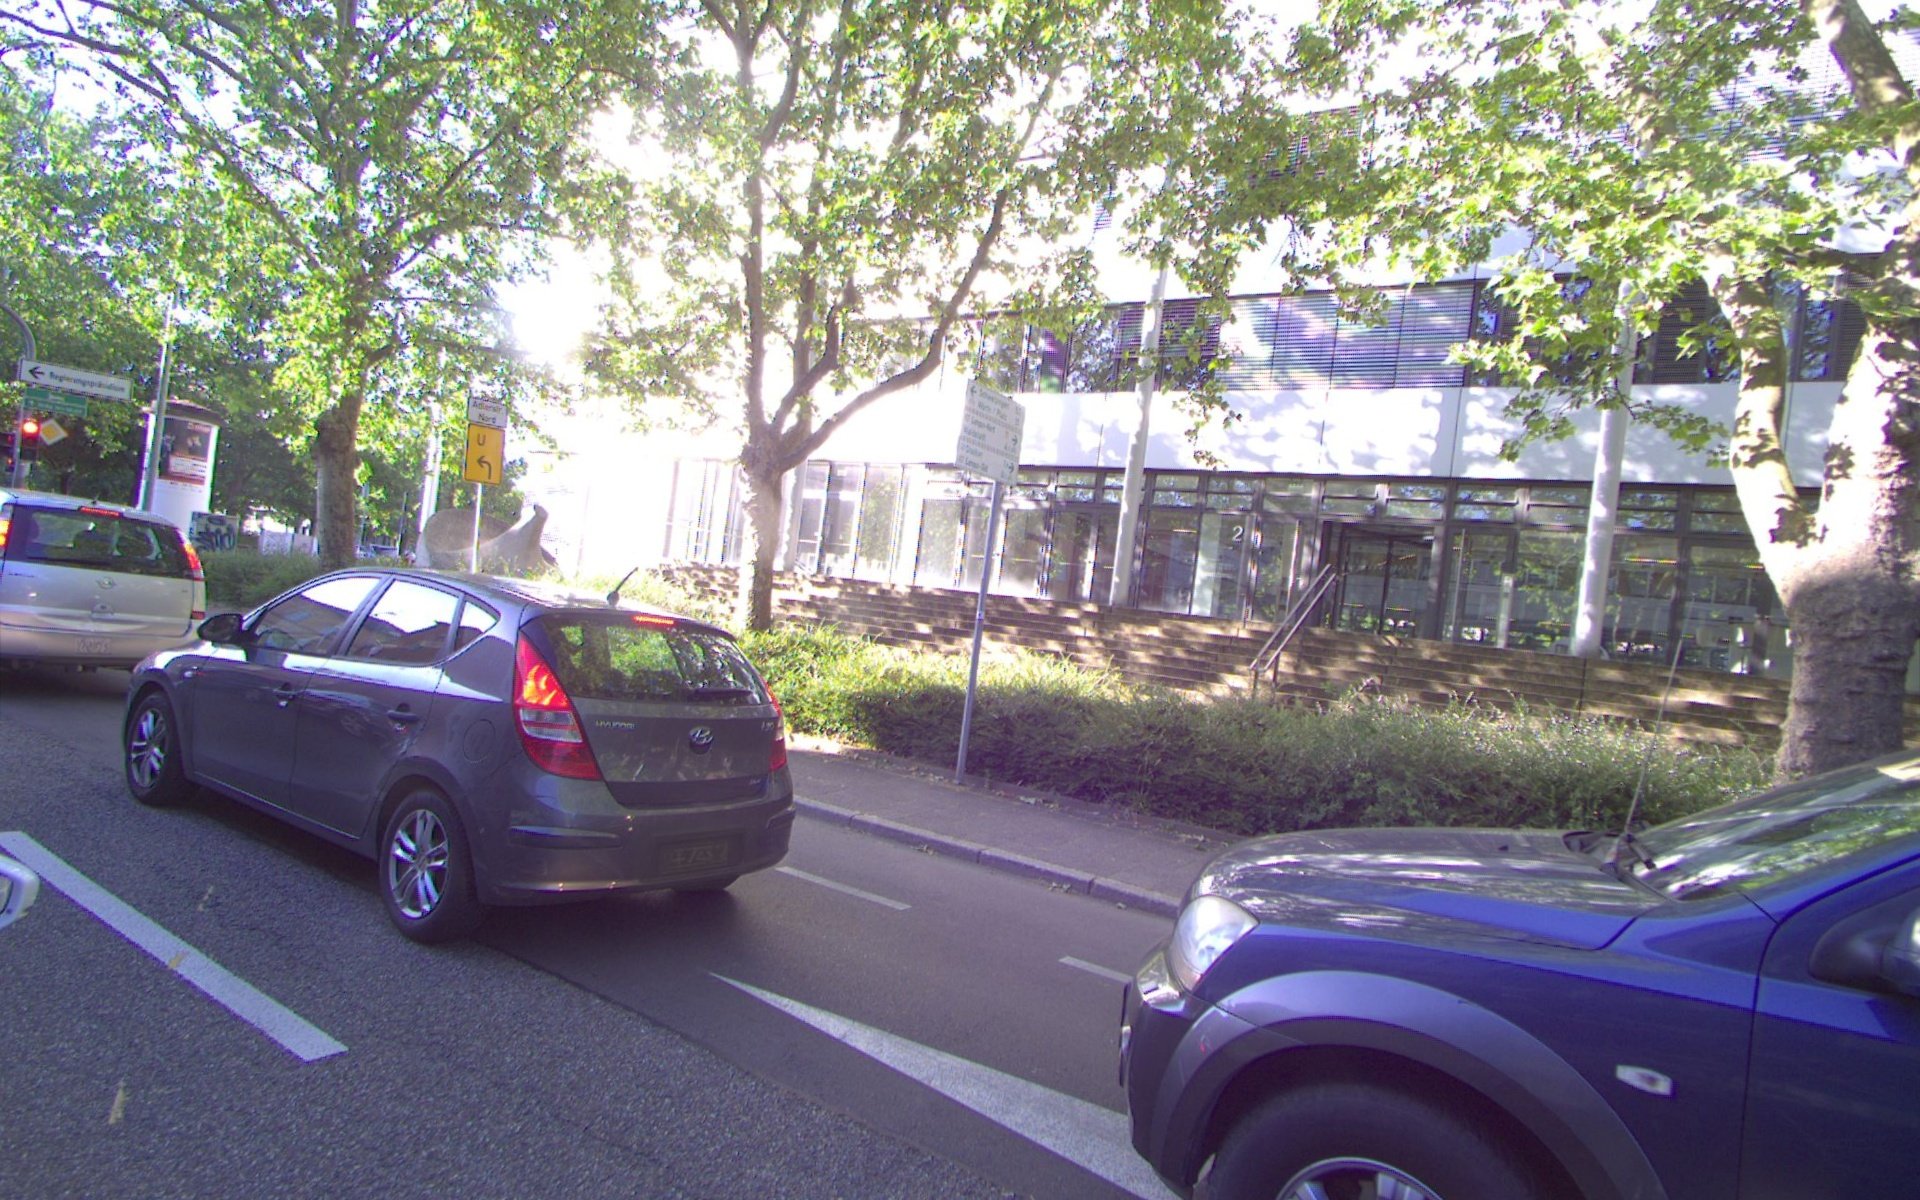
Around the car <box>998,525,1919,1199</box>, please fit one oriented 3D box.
[{"bbox_3d":[2.454,1.021,2.002,4.313,1.790,1.784,7,-3,33],"label":"car"}]

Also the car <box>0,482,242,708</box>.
[{"bbox_3d":[-8.367,-0.156,9.052,3.797,1.620,1.705,7,-3,34],"label":"car"}]

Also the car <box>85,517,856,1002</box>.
[{"bbox_3d":[-2.681,0.571,5.271,3.910,1.498,1.648,7,-3,32],"label":"car"}]

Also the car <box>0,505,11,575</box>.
[{"bbox_3d":[-14.056,-0.736,12.602,4.592,1.481,1.917,7,-3,32],"label":"car"}]
